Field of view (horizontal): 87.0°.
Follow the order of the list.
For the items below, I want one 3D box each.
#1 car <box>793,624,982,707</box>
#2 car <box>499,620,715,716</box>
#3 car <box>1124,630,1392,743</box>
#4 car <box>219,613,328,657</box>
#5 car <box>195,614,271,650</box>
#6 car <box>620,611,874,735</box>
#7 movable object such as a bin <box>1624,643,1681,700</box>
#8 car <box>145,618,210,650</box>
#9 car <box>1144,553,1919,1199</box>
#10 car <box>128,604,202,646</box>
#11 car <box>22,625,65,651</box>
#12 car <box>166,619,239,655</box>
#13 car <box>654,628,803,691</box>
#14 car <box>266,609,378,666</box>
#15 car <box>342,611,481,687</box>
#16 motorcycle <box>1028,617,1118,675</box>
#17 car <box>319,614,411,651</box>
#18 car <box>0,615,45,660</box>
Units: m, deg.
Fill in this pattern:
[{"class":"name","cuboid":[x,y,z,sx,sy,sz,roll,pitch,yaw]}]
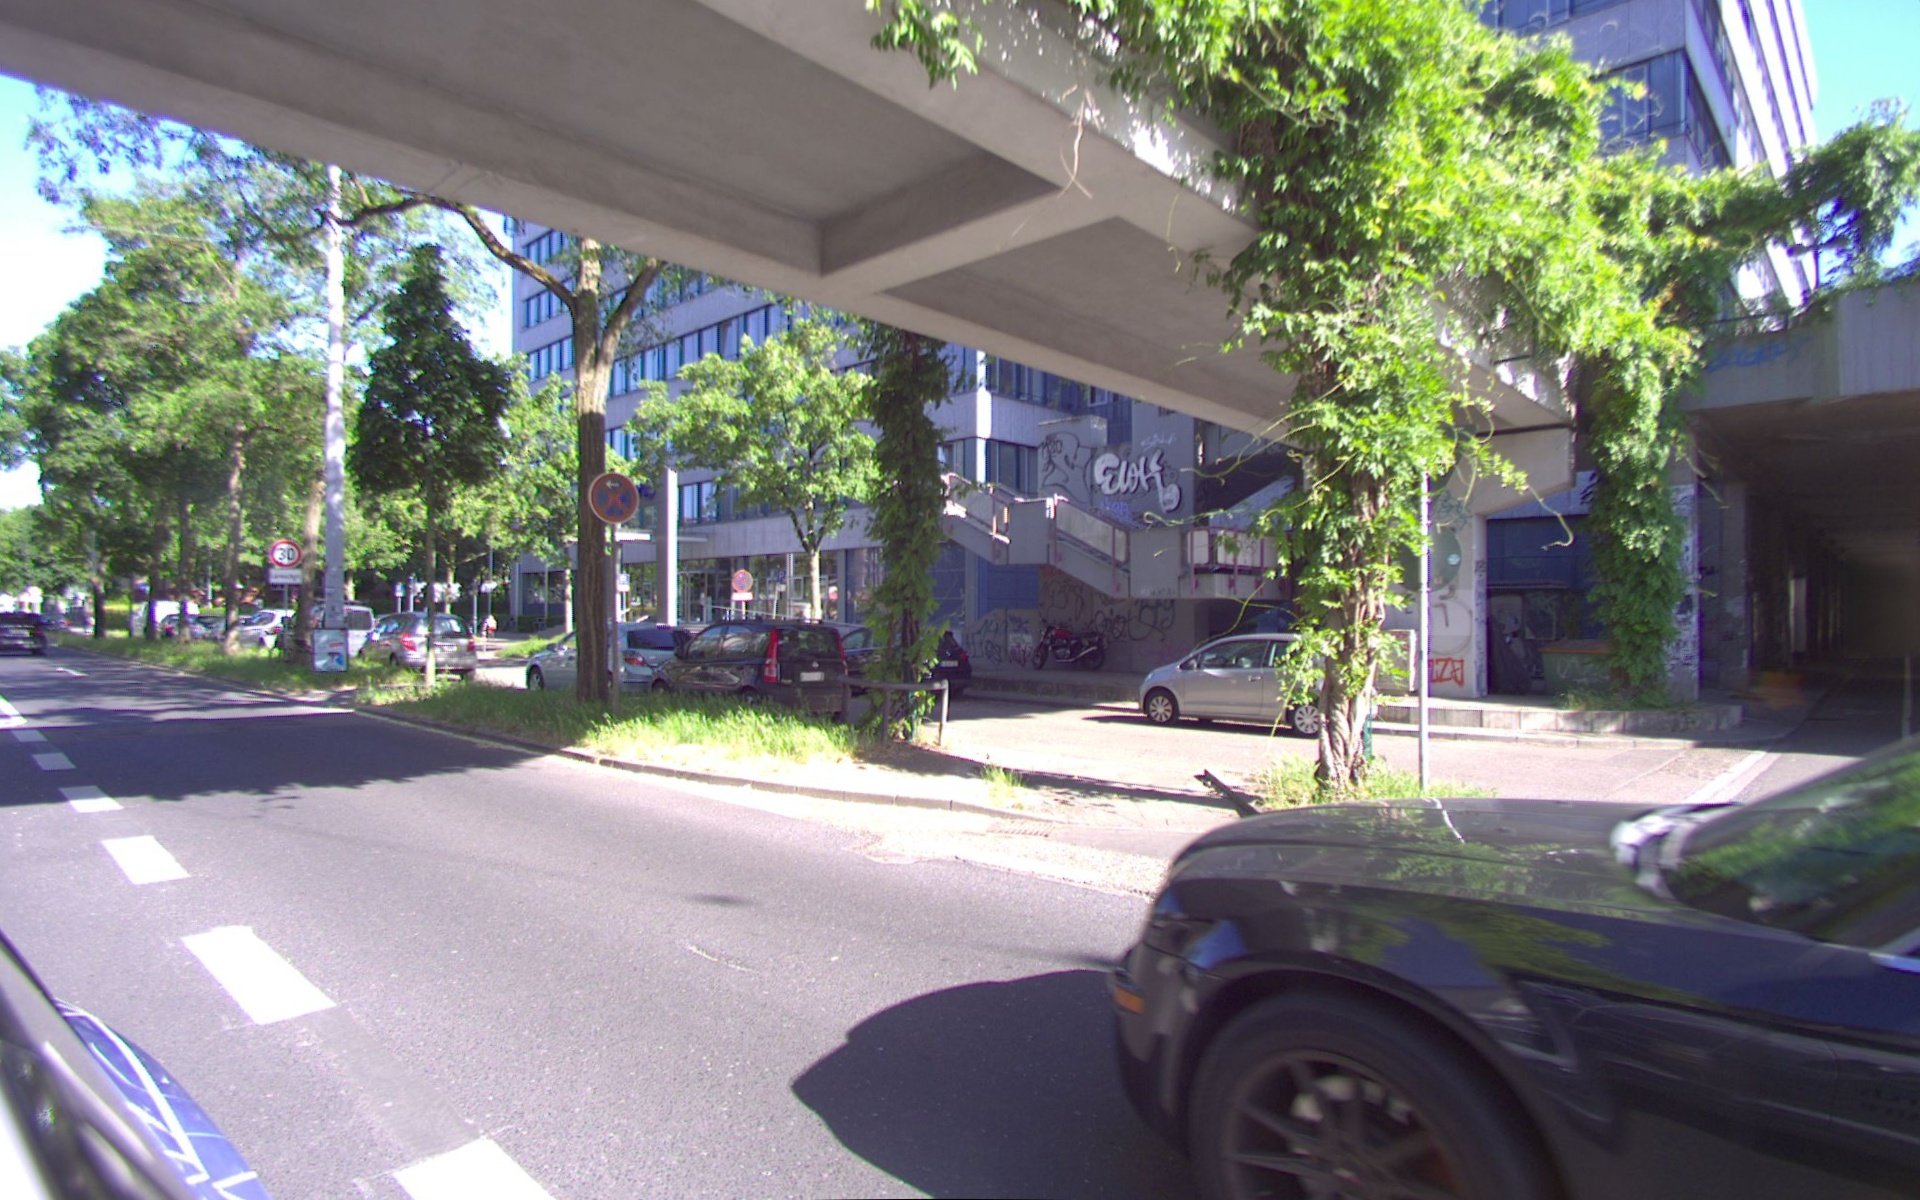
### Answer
[{"class":"car","cuboid":[-1.598,1.299,21.246,4.001,1.541,1.713,-1,-2,44]},{"class":"car","cuboid":[-6.205,1.129,17.548,4.281,1.459,1.635,-1,-5,42]},{"class":"car","cuboid":[4.491,1.224,15.571,3.648,1.497,1.588,-1,-2,43]},{"class":"car","cuboid":[-23.013,1.123,33.870,4.486,1.394,1.700,-1,-1,38]},{"class":"car","cuboid":[-26.591,1.132,36.994,3.849,1.236,1.633,-1,-1,45]},{"class":"car","cuboid":[-3.166,0.980,14.630,3.780,1.550,1.721,-1,-4,44]},{"class":"movable object such as a bin","cuboid":[11.724,1.194,17.141,0.719,0.912,0.632,-1,-1,42]},{"class":"car","cuboid":[-34.495,1.451,44.583,4.189,1.343,1.657,-1,-1,44]},{"class":"car","cuboid":[2.701,0.681,1.383,4.594,1.469,1.845,-1,-2,44]},{"class":"car","cuboid":[-37.806,1.167,48.102,4.525,1.923,2.042,-1,-1,42]},{"class":"car","cuboid":[-55.506,2.277,61.270,4.001,1.501,1.717,-1,-1,44]},{"class":"car","cuboid":[-30.643,1.454,40.892,3.969,1.354,1.635,-1,-1,42]},{"class":"car","cuboid":[-5.791,1.415,25.133,3.799,1.414,1.664,-1,-2,41]},{"class":"car","cuboid":[-18.756,1.044,29.691,4.449,1.561,1.711,-1,-1,43]},{"class":"car","cuboid":[-13.174,1.111,24.212,4.084,1.659,1.753,-1,-2,44]},{"class":"motorcycle","cuboid":[2.590,1.039,23.433,2.053,1.280,0.721,-1,-1,43]},{"class":"car","cuboid":[-31.737,1.690,54.055,3.939,1.726,1.707,-2,1,-42]},{"class":"car","cuboid":[-33.566,1.321,35.890,2.817,1.539,1.450,-1,-2,44]}]
